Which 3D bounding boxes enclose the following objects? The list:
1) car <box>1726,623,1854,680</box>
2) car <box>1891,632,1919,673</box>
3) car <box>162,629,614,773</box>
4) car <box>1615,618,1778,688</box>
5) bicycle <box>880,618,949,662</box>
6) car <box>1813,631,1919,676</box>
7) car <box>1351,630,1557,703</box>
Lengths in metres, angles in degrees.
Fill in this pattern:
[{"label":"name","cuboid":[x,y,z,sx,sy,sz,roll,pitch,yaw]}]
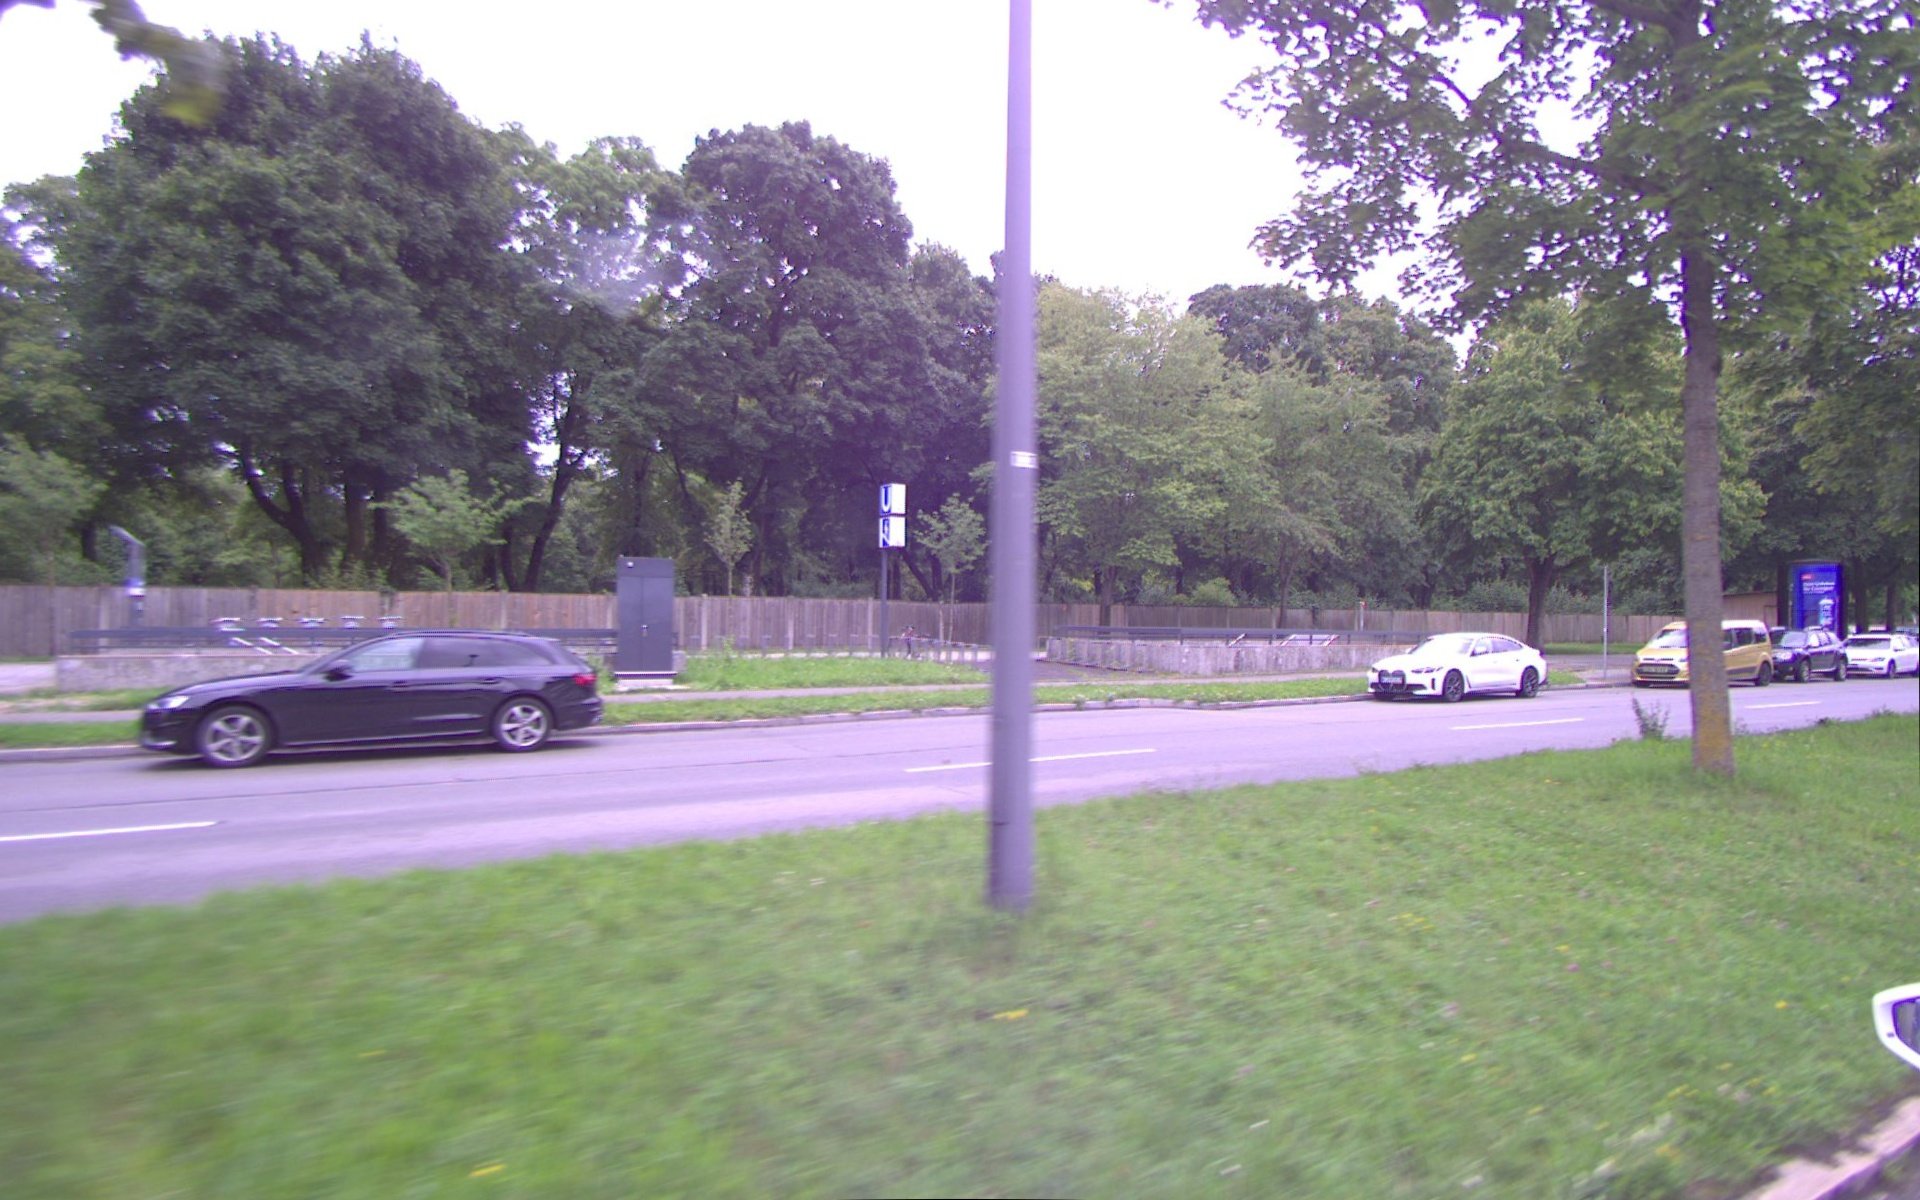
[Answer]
[{"label":"car","cuboid":[25.755,1.556,31.160,4.206,1.667,1.728,1,-2,-31]},{"label":"car","cuboid":[35.756,1.896,36.718,3.854,1.436,1.604,1,-2,-32]},{"label":"car","cuboid":[-6.584,1.084,12.020,4.378,1.444,1.792,1,-2,-30]},{"label":"car","cuboid":[20.402,1.426,27.798,4.758,1.806,1.807,1,-2,-29]},{"label":"bicycle","cuboid":[-1.176,1.051,26.391,1.803,1.115,0.429,1,0,-29]},{"label":"car","cuboid":[31.216,1.791,34.323,4.480,1.469,1.754,1,-2,-31]},{"label":"car","cuboid":[11.200,1.443,22.692,4.818,1.492,1.848,1,-2,-31]}]
